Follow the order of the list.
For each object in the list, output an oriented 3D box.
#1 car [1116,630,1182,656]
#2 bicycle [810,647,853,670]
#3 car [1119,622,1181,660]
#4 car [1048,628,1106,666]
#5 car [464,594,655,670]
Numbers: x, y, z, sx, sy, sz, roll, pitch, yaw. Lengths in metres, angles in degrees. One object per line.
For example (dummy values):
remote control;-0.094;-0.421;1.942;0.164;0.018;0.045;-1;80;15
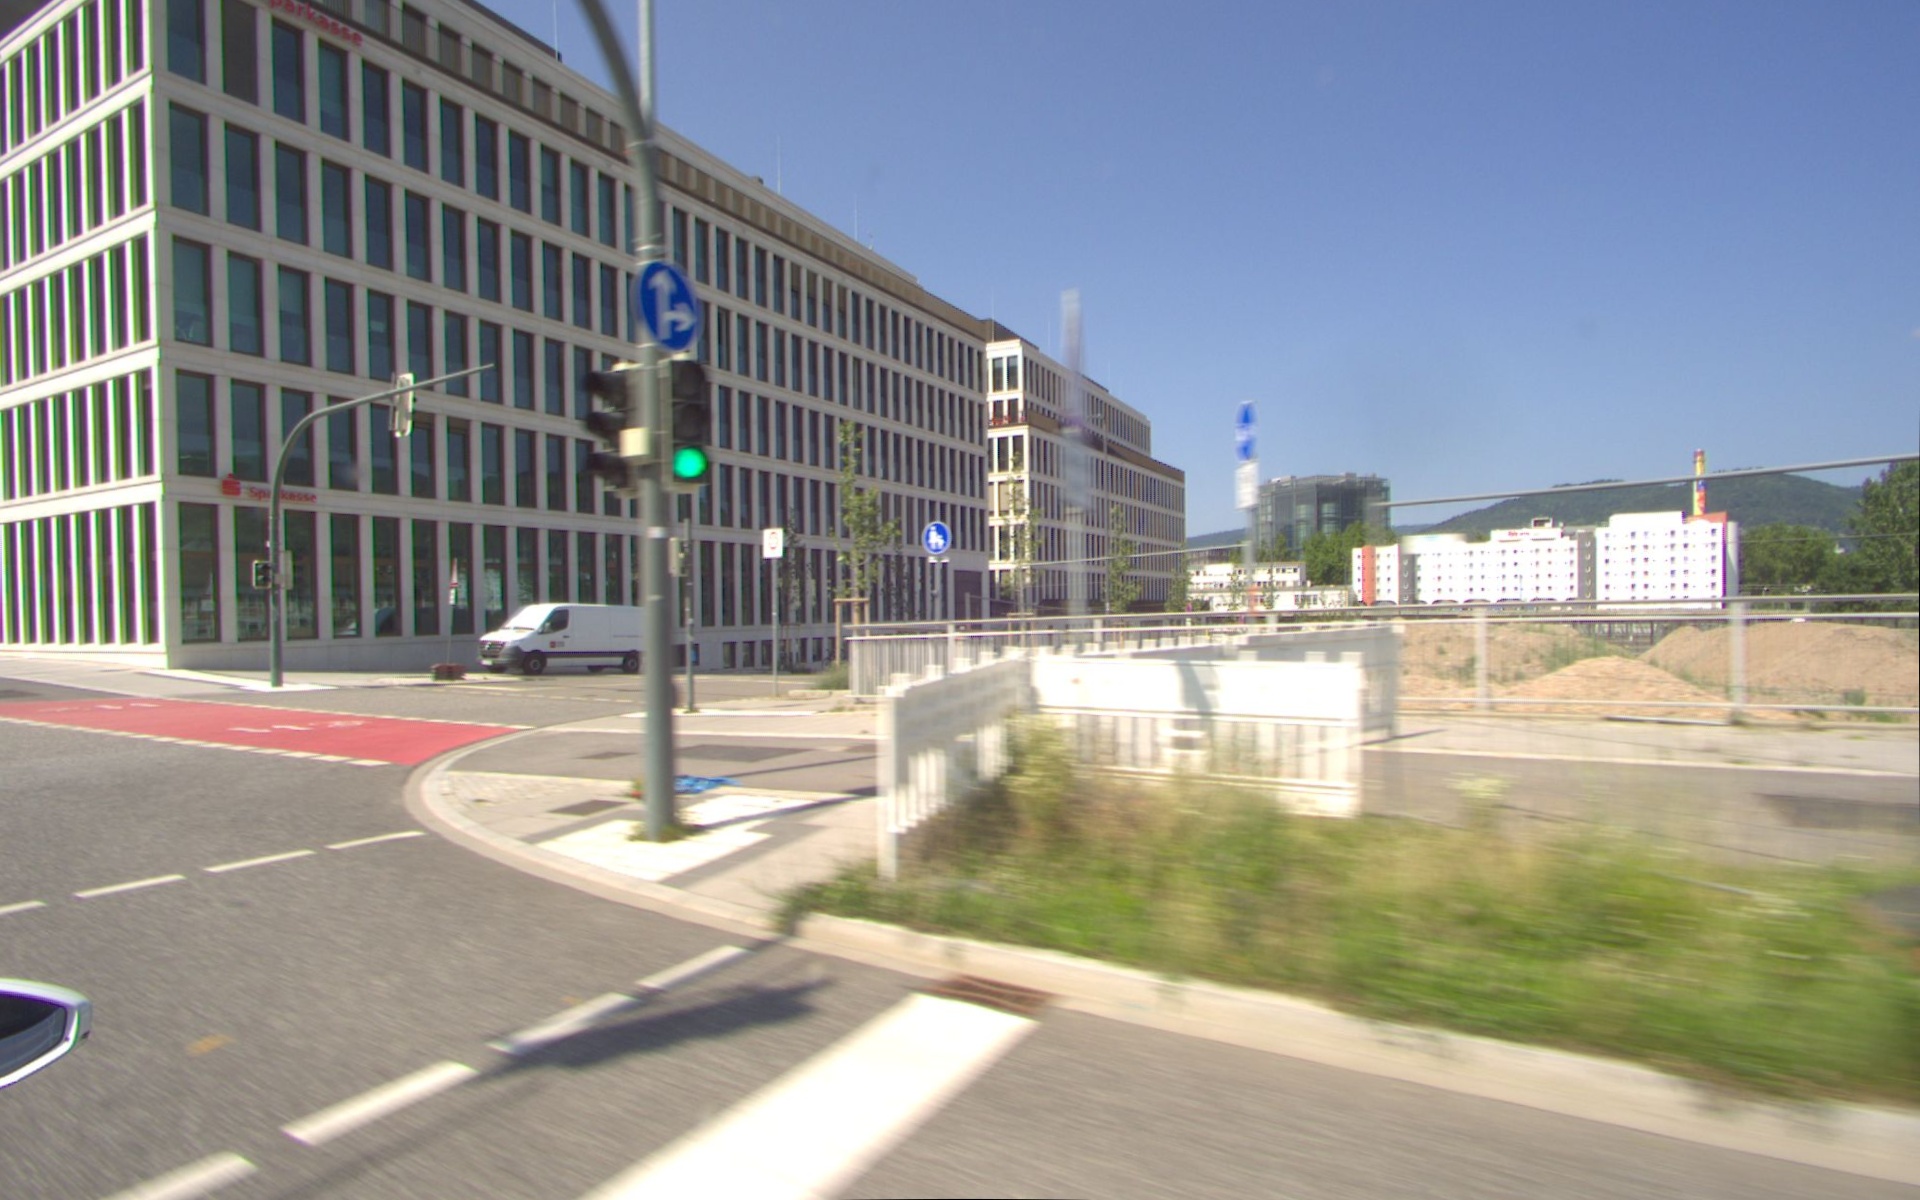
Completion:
car;18.857;4.284;100.002;6.238;2.504;2.241;-1;-3;23
bicycle;-5.938;2.688;46.212;1.959;1.005;0.706;-1;0;34
car;8.513;1.774;44.668;1.632;1.614;3.677;0;-1;30
car;8.436;3.401;71.864;2.045;2.504;6.132;0;-4;28
car;-13.126;1.093;33.269;2.114;2.299;5.832;0;-2;30
